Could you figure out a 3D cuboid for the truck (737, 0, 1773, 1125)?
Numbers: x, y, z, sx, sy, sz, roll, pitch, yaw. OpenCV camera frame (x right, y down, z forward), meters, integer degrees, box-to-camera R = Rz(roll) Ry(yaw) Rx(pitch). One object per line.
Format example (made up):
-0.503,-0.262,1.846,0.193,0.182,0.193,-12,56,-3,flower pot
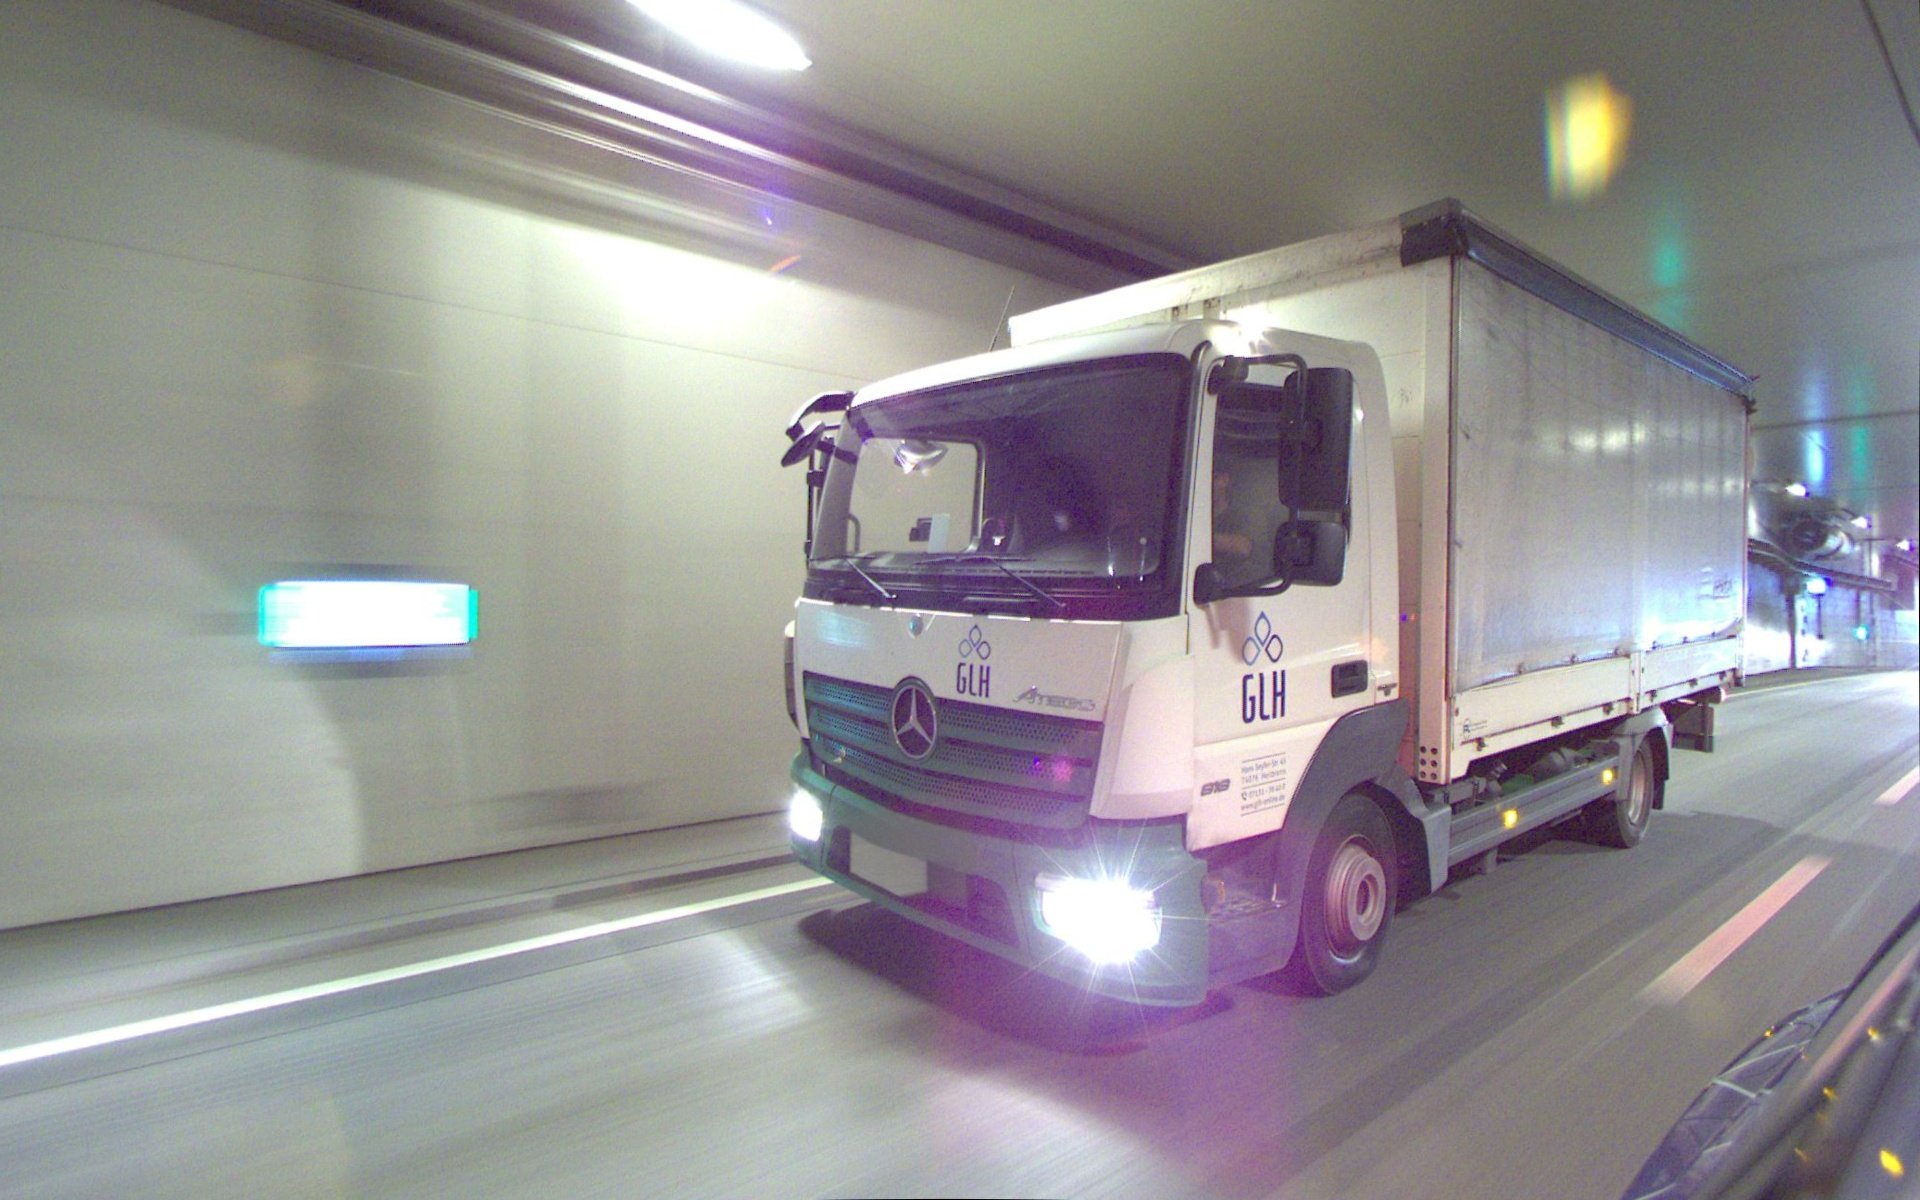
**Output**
2.486,-0.155,6.092,7.118,3.221,2.558,1,-1,-41,truck
